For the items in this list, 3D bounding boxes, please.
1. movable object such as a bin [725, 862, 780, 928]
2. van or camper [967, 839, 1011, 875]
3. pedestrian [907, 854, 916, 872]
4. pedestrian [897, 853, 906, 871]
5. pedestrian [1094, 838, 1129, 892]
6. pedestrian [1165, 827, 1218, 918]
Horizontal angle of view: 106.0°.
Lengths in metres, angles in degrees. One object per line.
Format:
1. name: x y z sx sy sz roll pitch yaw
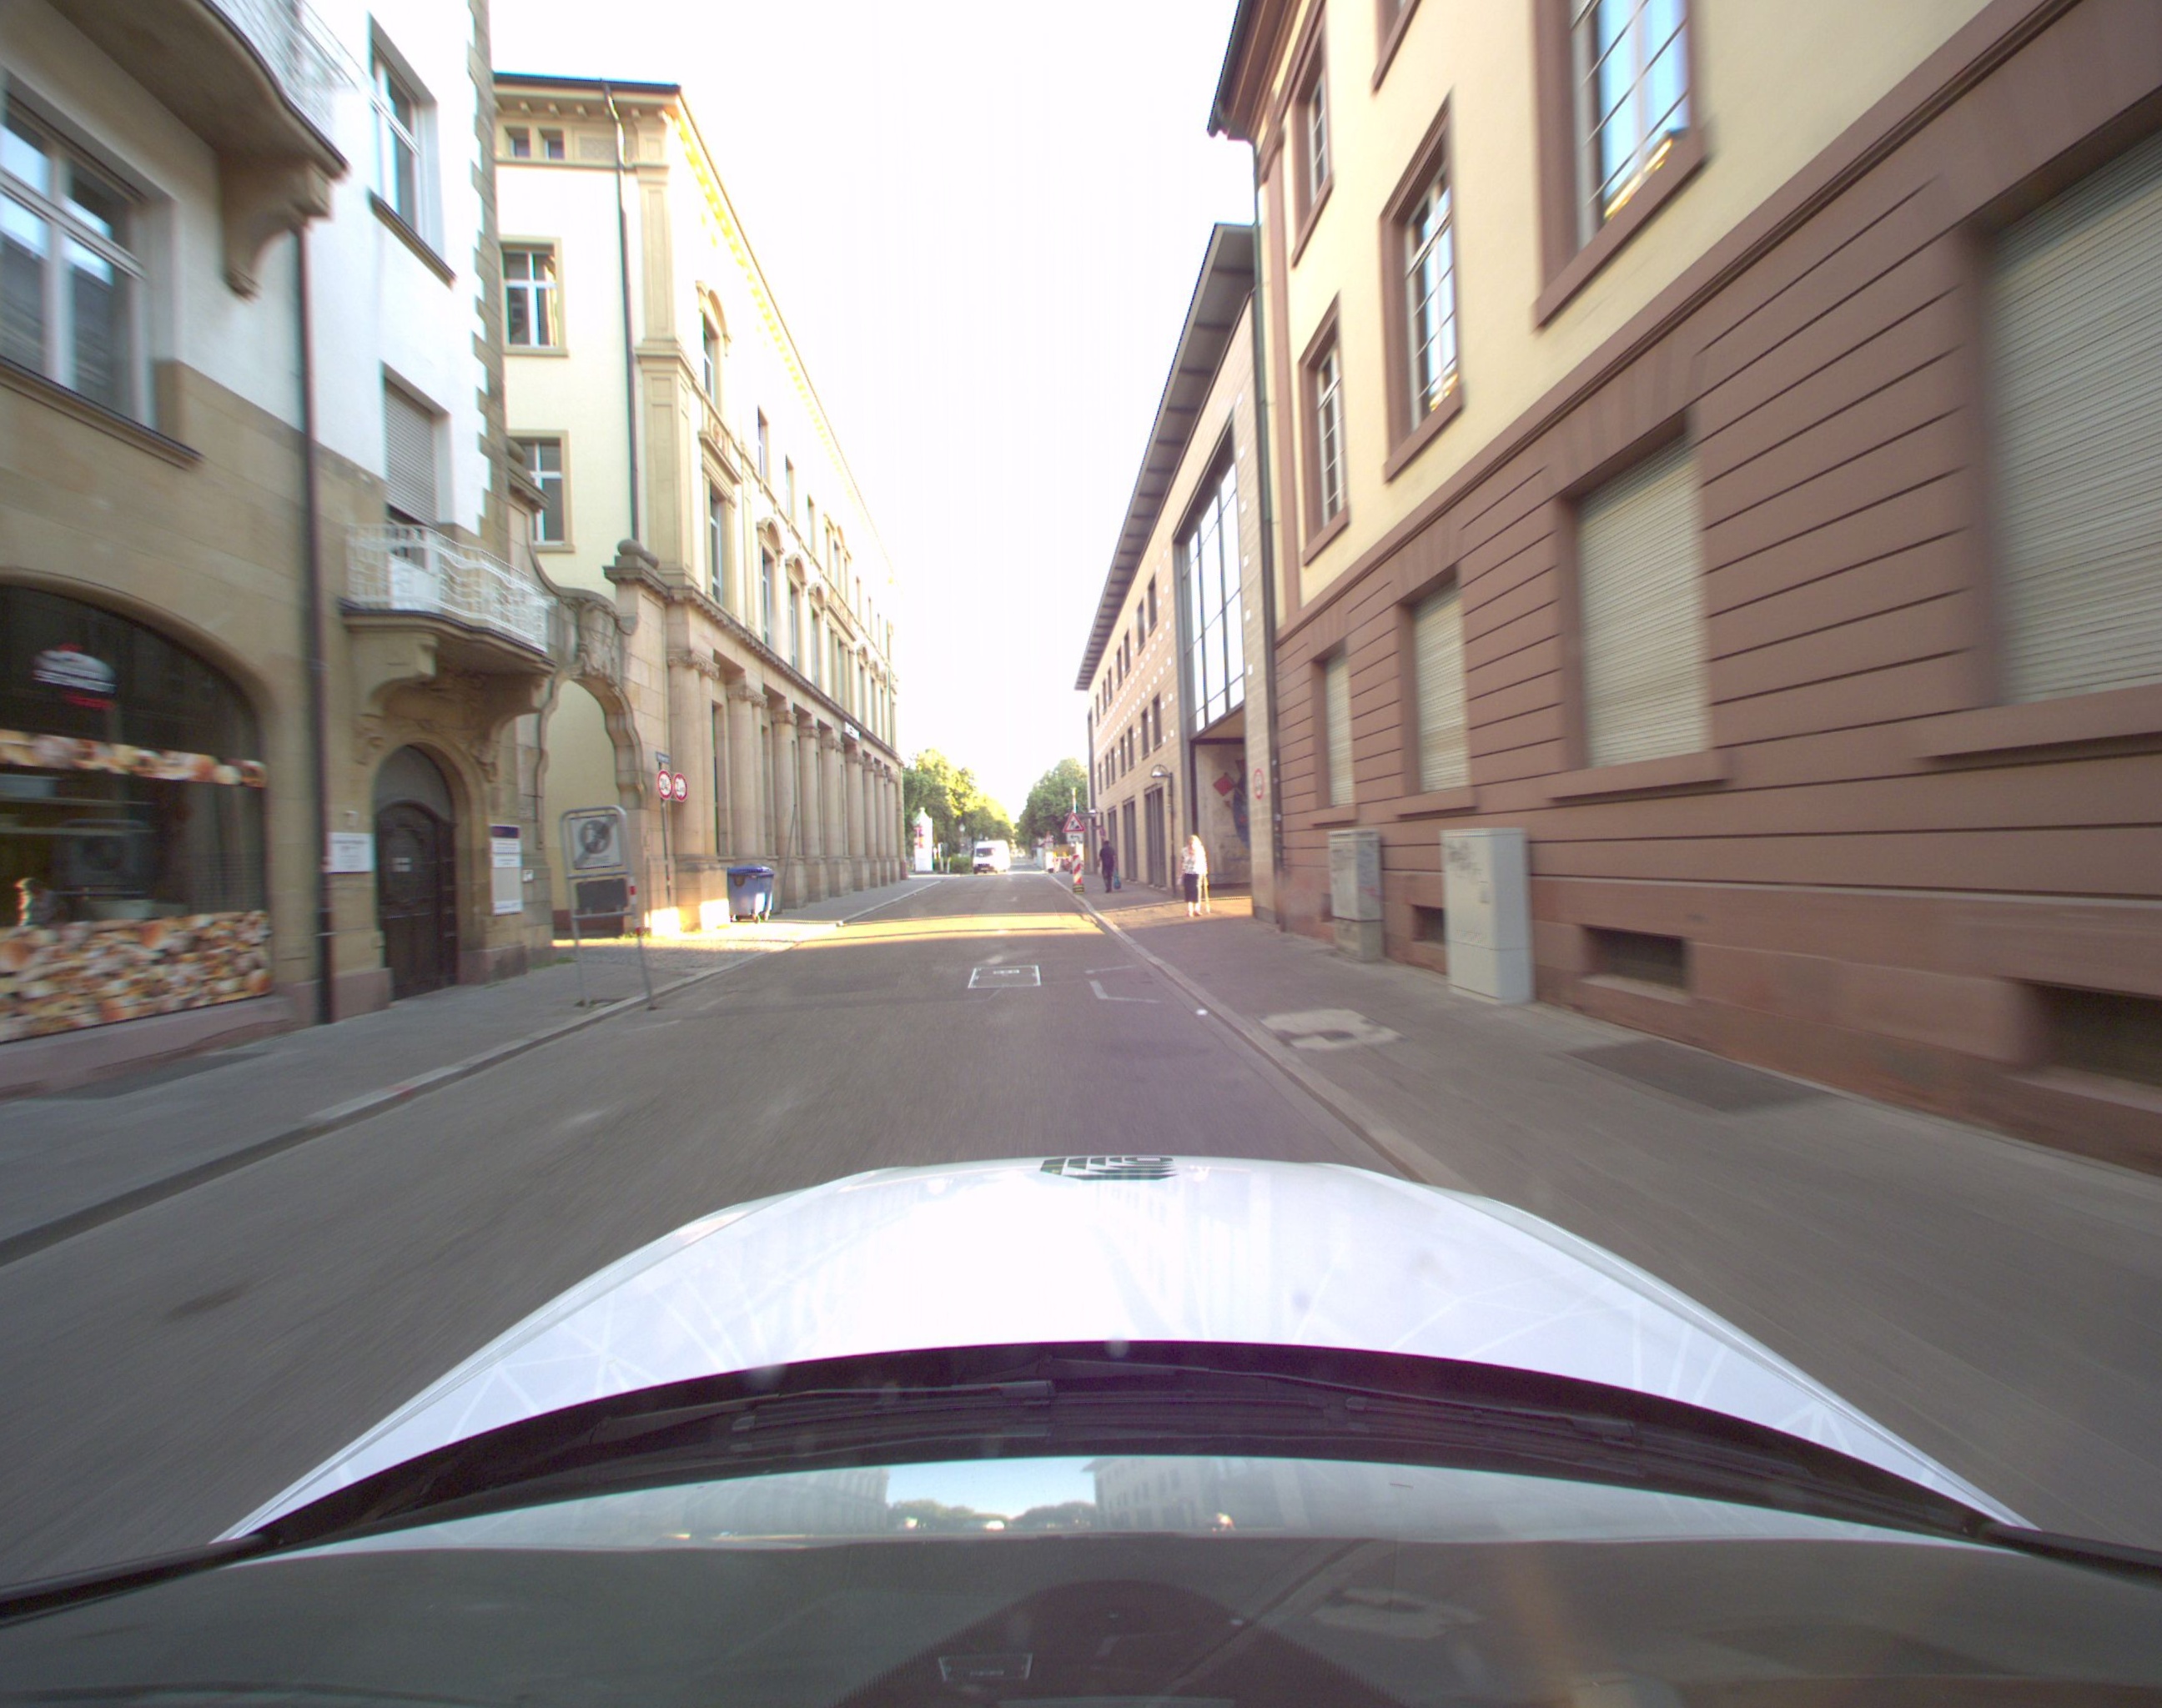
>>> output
1. movable object such as a bin: -7.955 0.957 19.752 0.827 1.503 1.289 -2 0 -4
2. van or camper: -7.101 0.199 63.651 2.209 2.584 6.379 -2 0 4
3. pedestrian: -17.083 0.918 82.114 0.852 1.807 0.660 -2 0 -18
4. pedestrian: -18.052 0.823 81.839 0.852 1.807 0.660 -2 0 -18
5. pedestrian: 1.033 0.375 28.079 0.999 1.803 0.880 -3 -1 -6
6. pedestrian: 2.307 0.375 17.038 0.843 1.803 0.897 -5 0 0
